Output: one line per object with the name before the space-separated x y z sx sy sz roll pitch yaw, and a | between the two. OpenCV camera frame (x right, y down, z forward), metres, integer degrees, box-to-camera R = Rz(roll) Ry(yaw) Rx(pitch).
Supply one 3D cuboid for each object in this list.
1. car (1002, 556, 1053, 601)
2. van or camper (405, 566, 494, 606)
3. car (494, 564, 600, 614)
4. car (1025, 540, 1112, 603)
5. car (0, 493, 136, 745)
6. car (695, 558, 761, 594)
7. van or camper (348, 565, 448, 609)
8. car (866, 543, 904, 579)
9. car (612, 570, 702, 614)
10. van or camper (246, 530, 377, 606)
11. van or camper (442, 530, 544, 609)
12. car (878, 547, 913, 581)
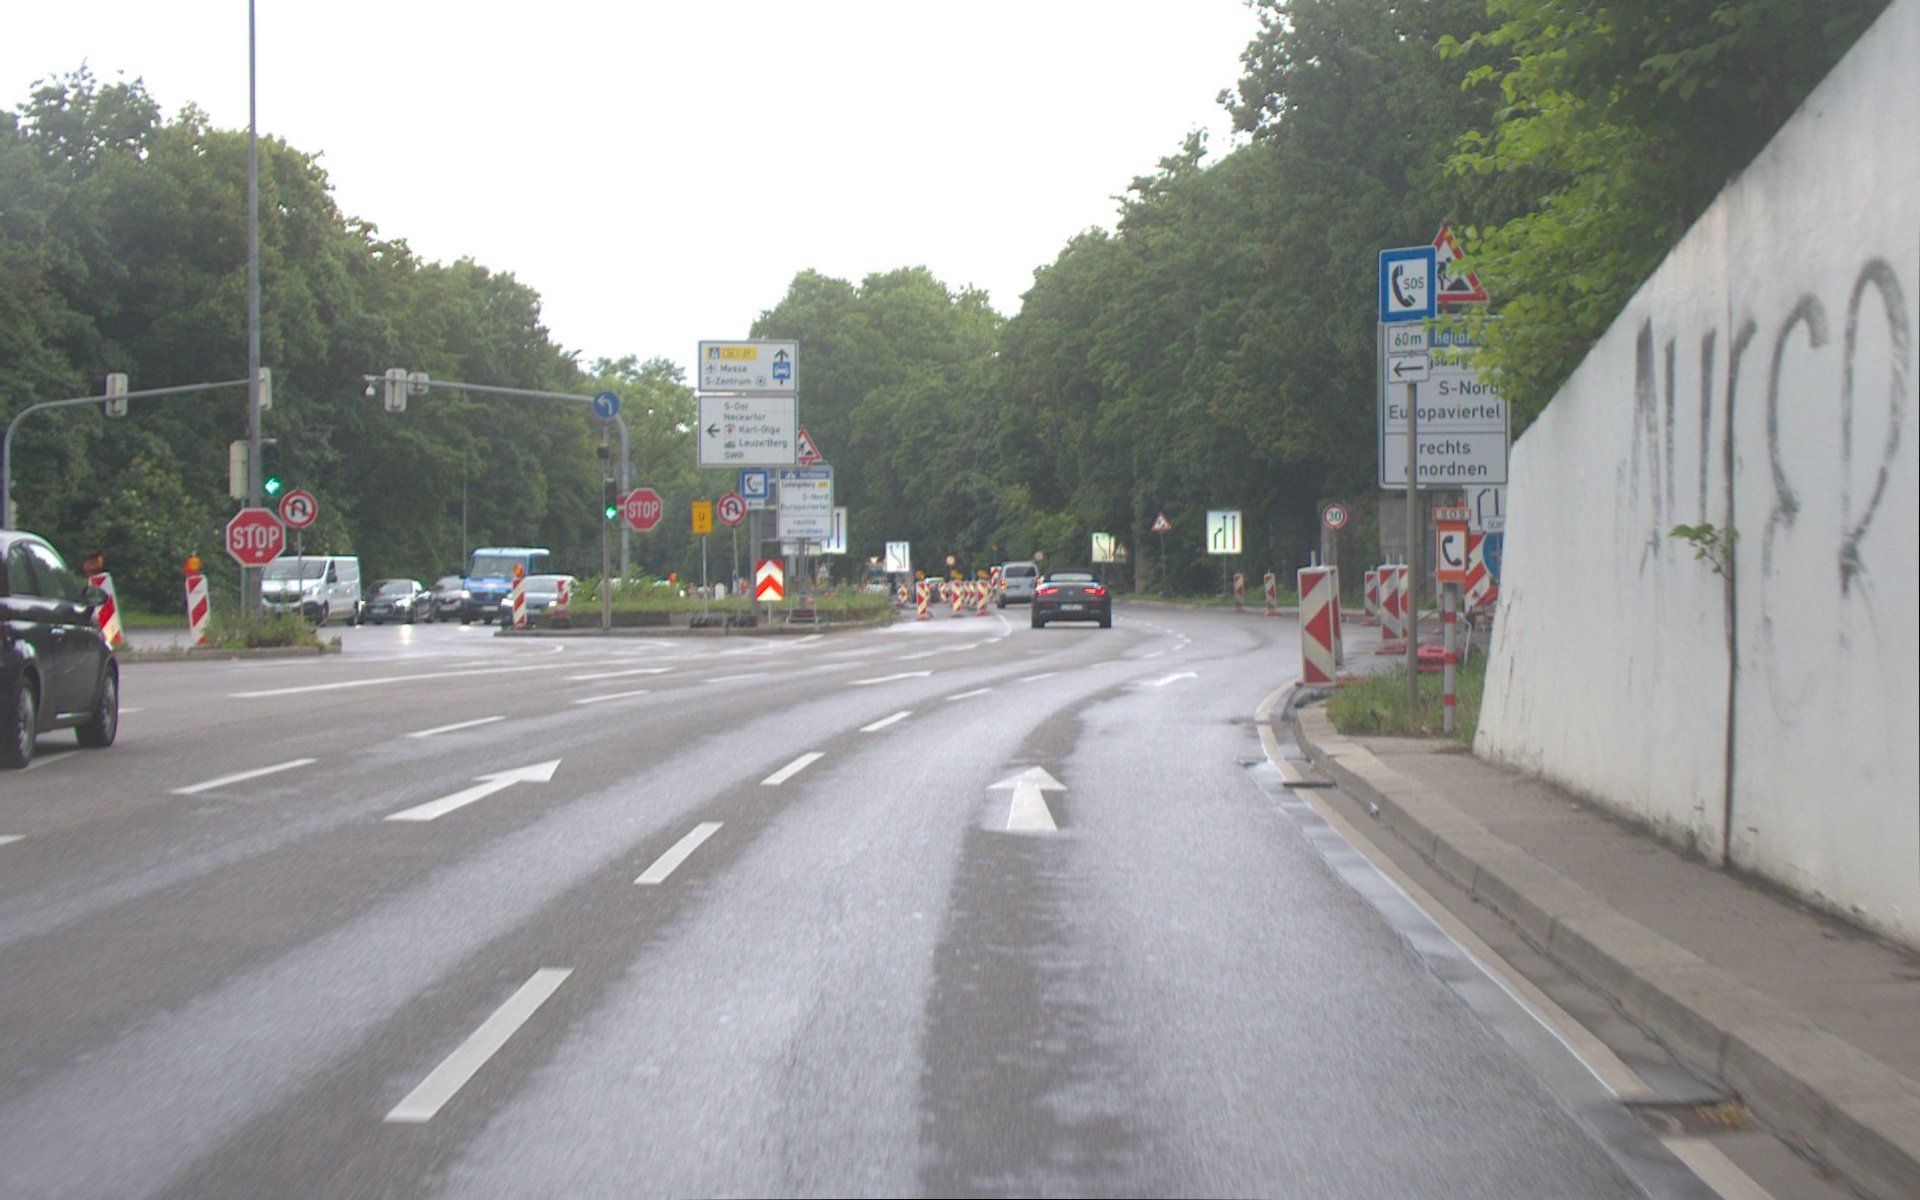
car | 3.040 -0.991 155.593 1.993 2.007 4.000 1 1 -3
van or camper | -16.801 -0.479 113.383 2.009 1.297 4.091 0 0 5
car | -11.087 -0.305 92.572 2.009 1.297 4.315 0 0 5
car | 2.573 -0.668 80.982 1.993 1.443 4.314 0 0 2
car | -6.406 0.049 21.937 1.612 1.449 3.573 2 2 -4
car | -8.523 -0.881 126.523 2.009 1.297 4.315 0 0 2
van or camper | -16.844 -0.404 103.272 2.009 1.297 4.091 0 0 5
car | -4.238 -2.205 193.933 1.993 2.007 4.000 1 1 -3
car | -9.181 -0.248 104.424 2.009 1.297 4.315 0 0 5
van or camper | -17.547 -0.865 93.228 2.129 2.007 5.313 0 0 5
van or camper | -14.122 -0.924 104.263 2.129 2.340 4.426 0 0 5
car | -3.892 -2.202 208.239 1.993 2.007 4.000 1 1 -3
